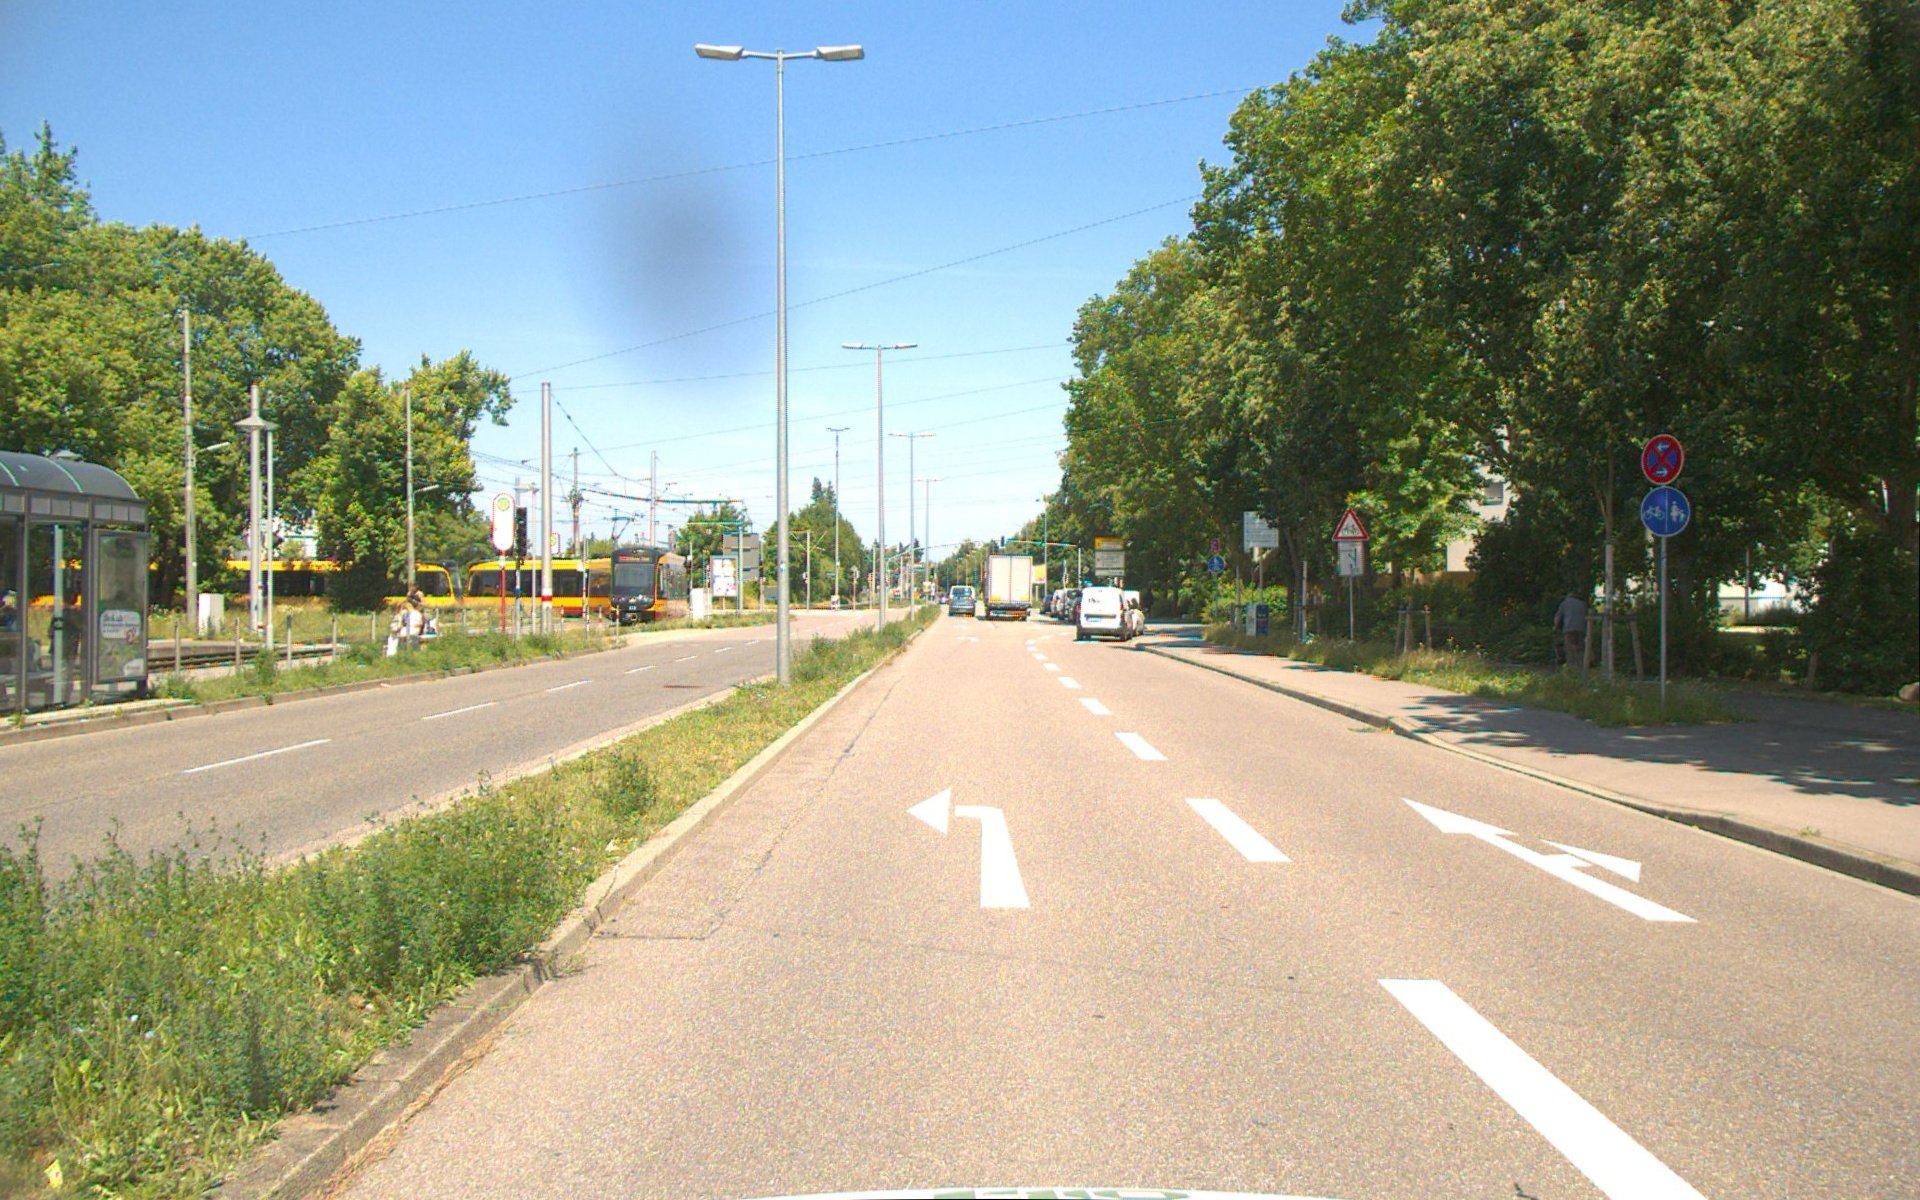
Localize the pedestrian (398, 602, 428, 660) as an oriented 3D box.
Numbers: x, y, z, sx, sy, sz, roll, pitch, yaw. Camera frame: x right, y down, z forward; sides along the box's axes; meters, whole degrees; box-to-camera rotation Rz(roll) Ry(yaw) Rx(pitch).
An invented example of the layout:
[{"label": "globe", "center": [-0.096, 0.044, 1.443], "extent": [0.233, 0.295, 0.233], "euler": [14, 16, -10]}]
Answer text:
[{"label": "pedestrian", "center": [-11.734, 0.661, 35.482], "extent": [0.484, 1.210, 0.400], "euler": [1, 0, -3]}]

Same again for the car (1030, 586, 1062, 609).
[{"label": "car", "center": [5.848, -0.172, 113.186], "extent": [1.953, 1.462, 4.251], "euler": [1, 1, 0]}]

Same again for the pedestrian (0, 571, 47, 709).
[{"label": "pedestrian", "center": [-11.479, 0.448, 19.493], "extent": [0.856, 1.573, 1.025], "euler": [1, 0, -2]}]

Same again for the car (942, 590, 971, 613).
[{"label": "car", "center": [-0.265, 0.117, 109.466], "extent": [1.854, 1.396, 4.429], "euler": [3, -1, -1]}]

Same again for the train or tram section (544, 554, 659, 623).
[{"label": "train or tram section", "center": [-19.531, -0.672, 89.587], "extent": [3.005, 3.526, 10.119], "euler": [1, 1, -30]}]

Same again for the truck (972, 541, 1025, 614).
[{"label": "truck", "center": [2.428, -1.490, 107.005], "extent": [2.770, 4.419, 8.281], "euler": [2, 1, -2]}]

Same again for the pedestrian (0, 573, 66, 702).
[{"label": "pedestrian", "center": [-12.001, 0.451, 20.838], "extent": [0.912, 1.573, 0.985], "euler": [1, 0, -2]}]

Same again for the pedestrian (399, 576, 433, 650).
[{"label": "pedestrian", "center": [-11.982, 0.283, 36.421], "extent": [0.524, 1.592, 0.582], "euler": [1, 0, -2]}]

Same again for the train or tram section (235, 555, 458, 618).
[{"label": "train or tram section", "center": [-37.928, -0.807, 102.677], "extent": [12.465, 3.526, 3.042], "euler": [1, 0, -7]}]

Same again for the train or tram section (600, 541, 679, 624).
[{"label": "train or tram section", "center": [-15.050, -0.829, 78.490], "extent": [2.980, 3.526, 13.267], "euler": [1, 1, -8]}]

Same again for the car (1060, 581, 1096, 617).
[{"label": "car", "center": [7.374, -0.085, 103.581], "extent": [1.852, 2.158, 3.886], "euler": [1, 0, -1]}]

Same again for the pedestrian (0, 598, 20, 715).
[{"label": "pedestrian", "center": [-11.105, 0.628, 18.507], "extent": [0.687, 1.306, 0.840], "euler": [1, 0, -2]}]

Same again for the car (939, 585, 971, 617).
[{"label": "car", "center": [-0.405, 0.046, 116.430], "extent": [1.954, 2.148, 4.744], "euler": [0, 1, -4]}]

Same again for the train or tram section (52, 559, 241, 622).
[{"label": "train or tram section", "center": [-48.989, -0.578, 100.020], "extent": [10.056, 3.526, 3.024], "euler": [1, 0, -24]}]

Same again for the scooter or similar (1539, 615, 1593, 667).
[{"label": "scooter or similar", "center": [11.055, 0.741, 30.181], "extent": [0.693, 0.908, 0.763], "euler": [1, 0, 1]}]

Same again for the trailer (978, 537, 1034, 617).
[{"label": "trailer", "center": [2.686, -1.345, 98.448], "extent": [2.770, 4.498, 8.747], "euler": [1, 0, -2]}]

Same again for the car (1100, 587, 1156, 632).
[{"label": "car", "center": [6.706, 0.347, 66.429], "extent": [1.665, 1.683, 4.397], "euler": [1, 0, -1]}]

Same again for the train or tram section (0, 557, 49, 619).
[{"label": "train or tram section", "center": [-58.757, -0.764, 92.824], "extent": [2.991, 3.526, 13.192], "euler": [2, 0, 40]}]

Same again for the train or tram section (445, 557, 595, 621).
[{"label": "train or tram section", "center": [-26.387, -0.749, 98.608], "extent": [3.022, 3.526, 12.549], "euler": [1, 1, -43]}]

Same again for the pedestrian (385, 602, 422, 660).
[{"label": "pedestrian", "center": [-11.767, 0.648, 34.991], "extent": [0.569, 1.210, 0.536], "euler": [1, 0, -1]}]

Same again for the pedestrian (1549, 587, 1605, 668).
[{"label": "pedestrian", "center": [11.047, 0.489, 29.646], "extent": [0.693, 1.422, 0.763], "euler": [1, 0, 1]}]

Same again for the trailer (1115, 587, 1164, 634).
[{"label": "trailer", "center": [6.788, 0.372, 62.798], "extent": [1.439, 1.698, 2.855], "euler": [1, 0, -2]}]

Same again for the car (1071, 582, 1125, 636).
[{"label": "car", "center": [4.723, 0.281, 57.024], "extent": [1.674, 1.778, 4.429], "euler": [1, 0, 3]}]
